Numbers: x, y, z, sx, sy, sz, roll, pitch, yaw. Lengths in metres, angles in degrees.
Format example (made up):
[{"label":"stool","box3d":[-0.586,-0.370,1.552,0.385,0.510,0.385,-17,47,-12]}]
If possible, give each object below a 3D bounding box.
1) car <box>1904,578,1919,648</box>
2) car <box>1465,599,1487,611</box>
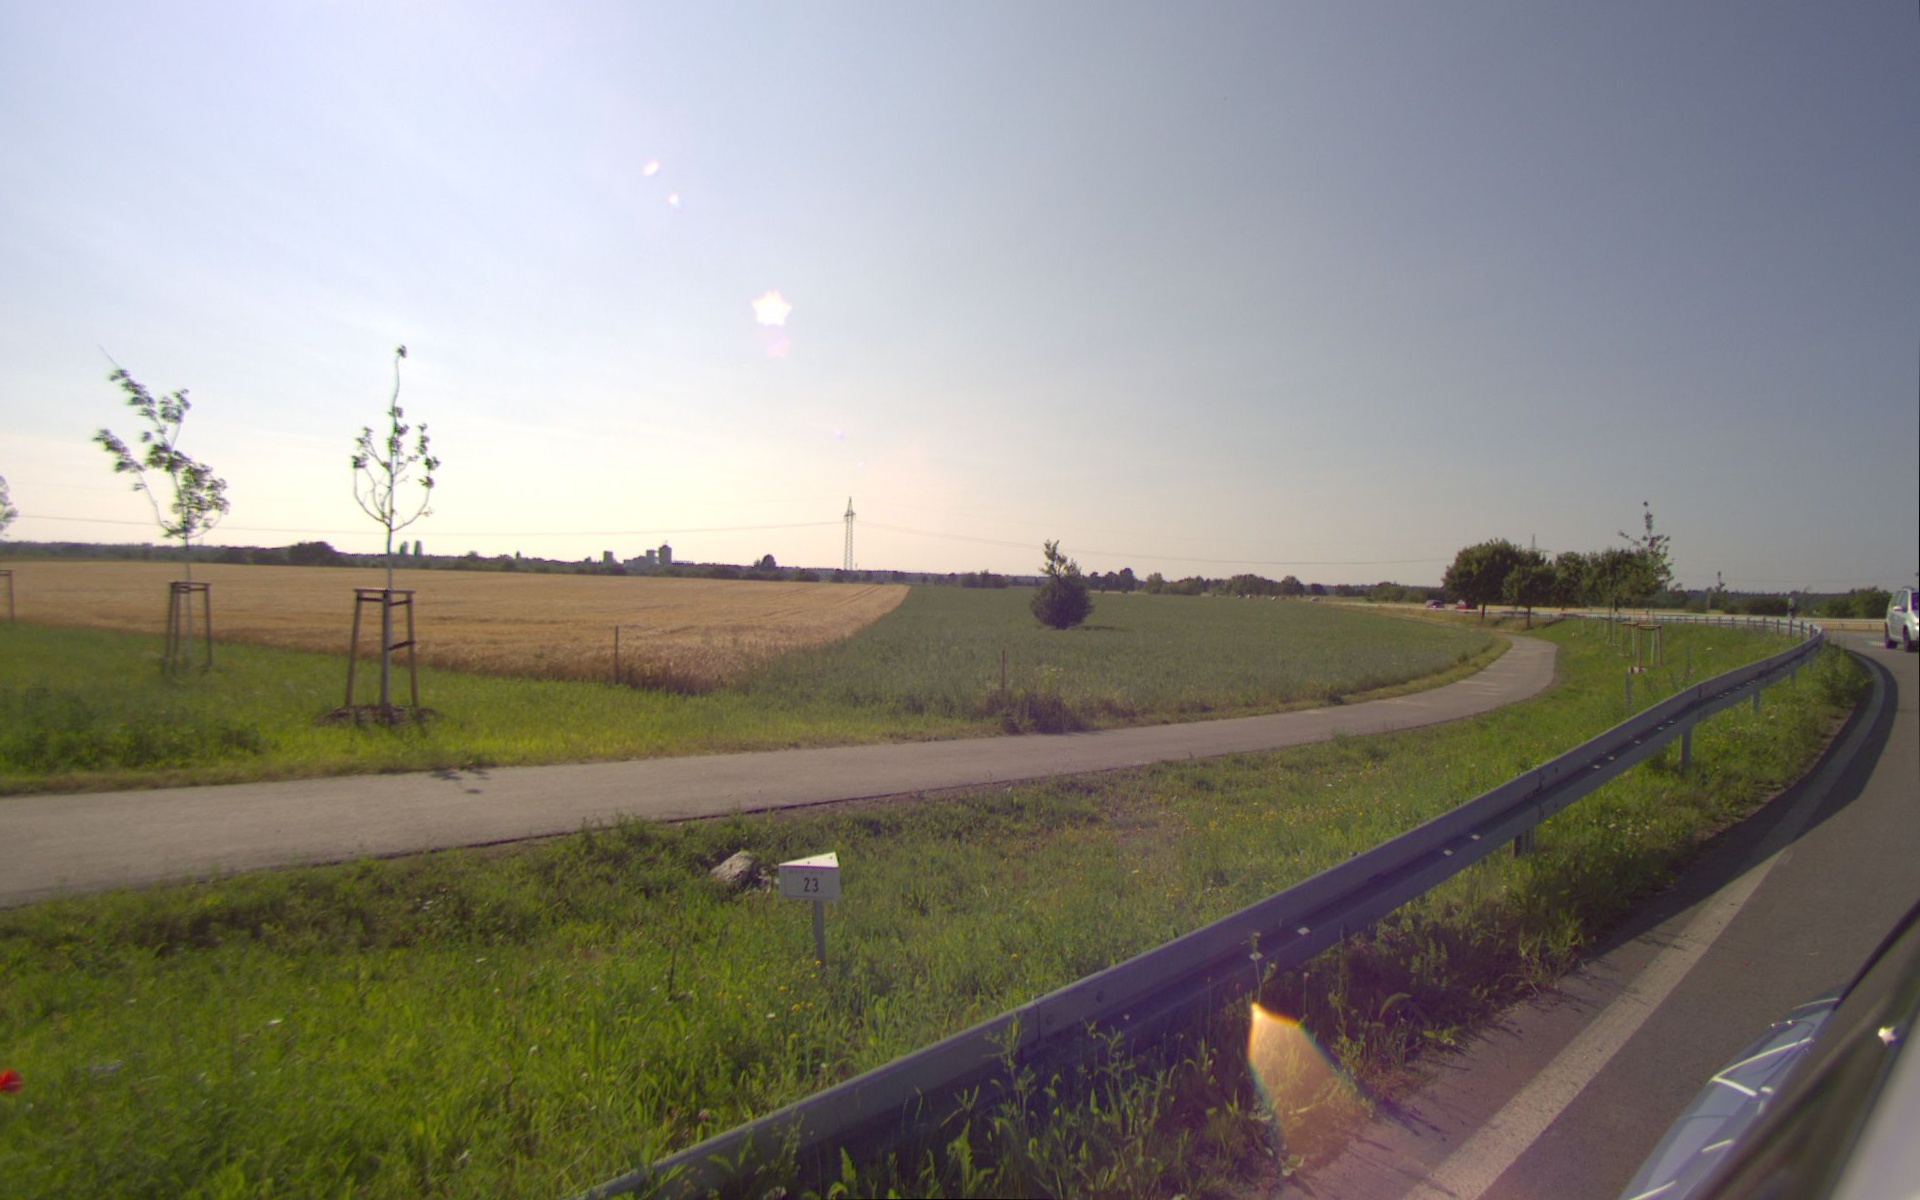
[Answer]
[{"label":"car","box3d":[25.021,0.307,25.267,1.747,1.716,4.156,0,0,38]},{"label":"car","box3d":[75.440,0.757,148.005,1.786,1.694,3.987,0,0,11]}]
